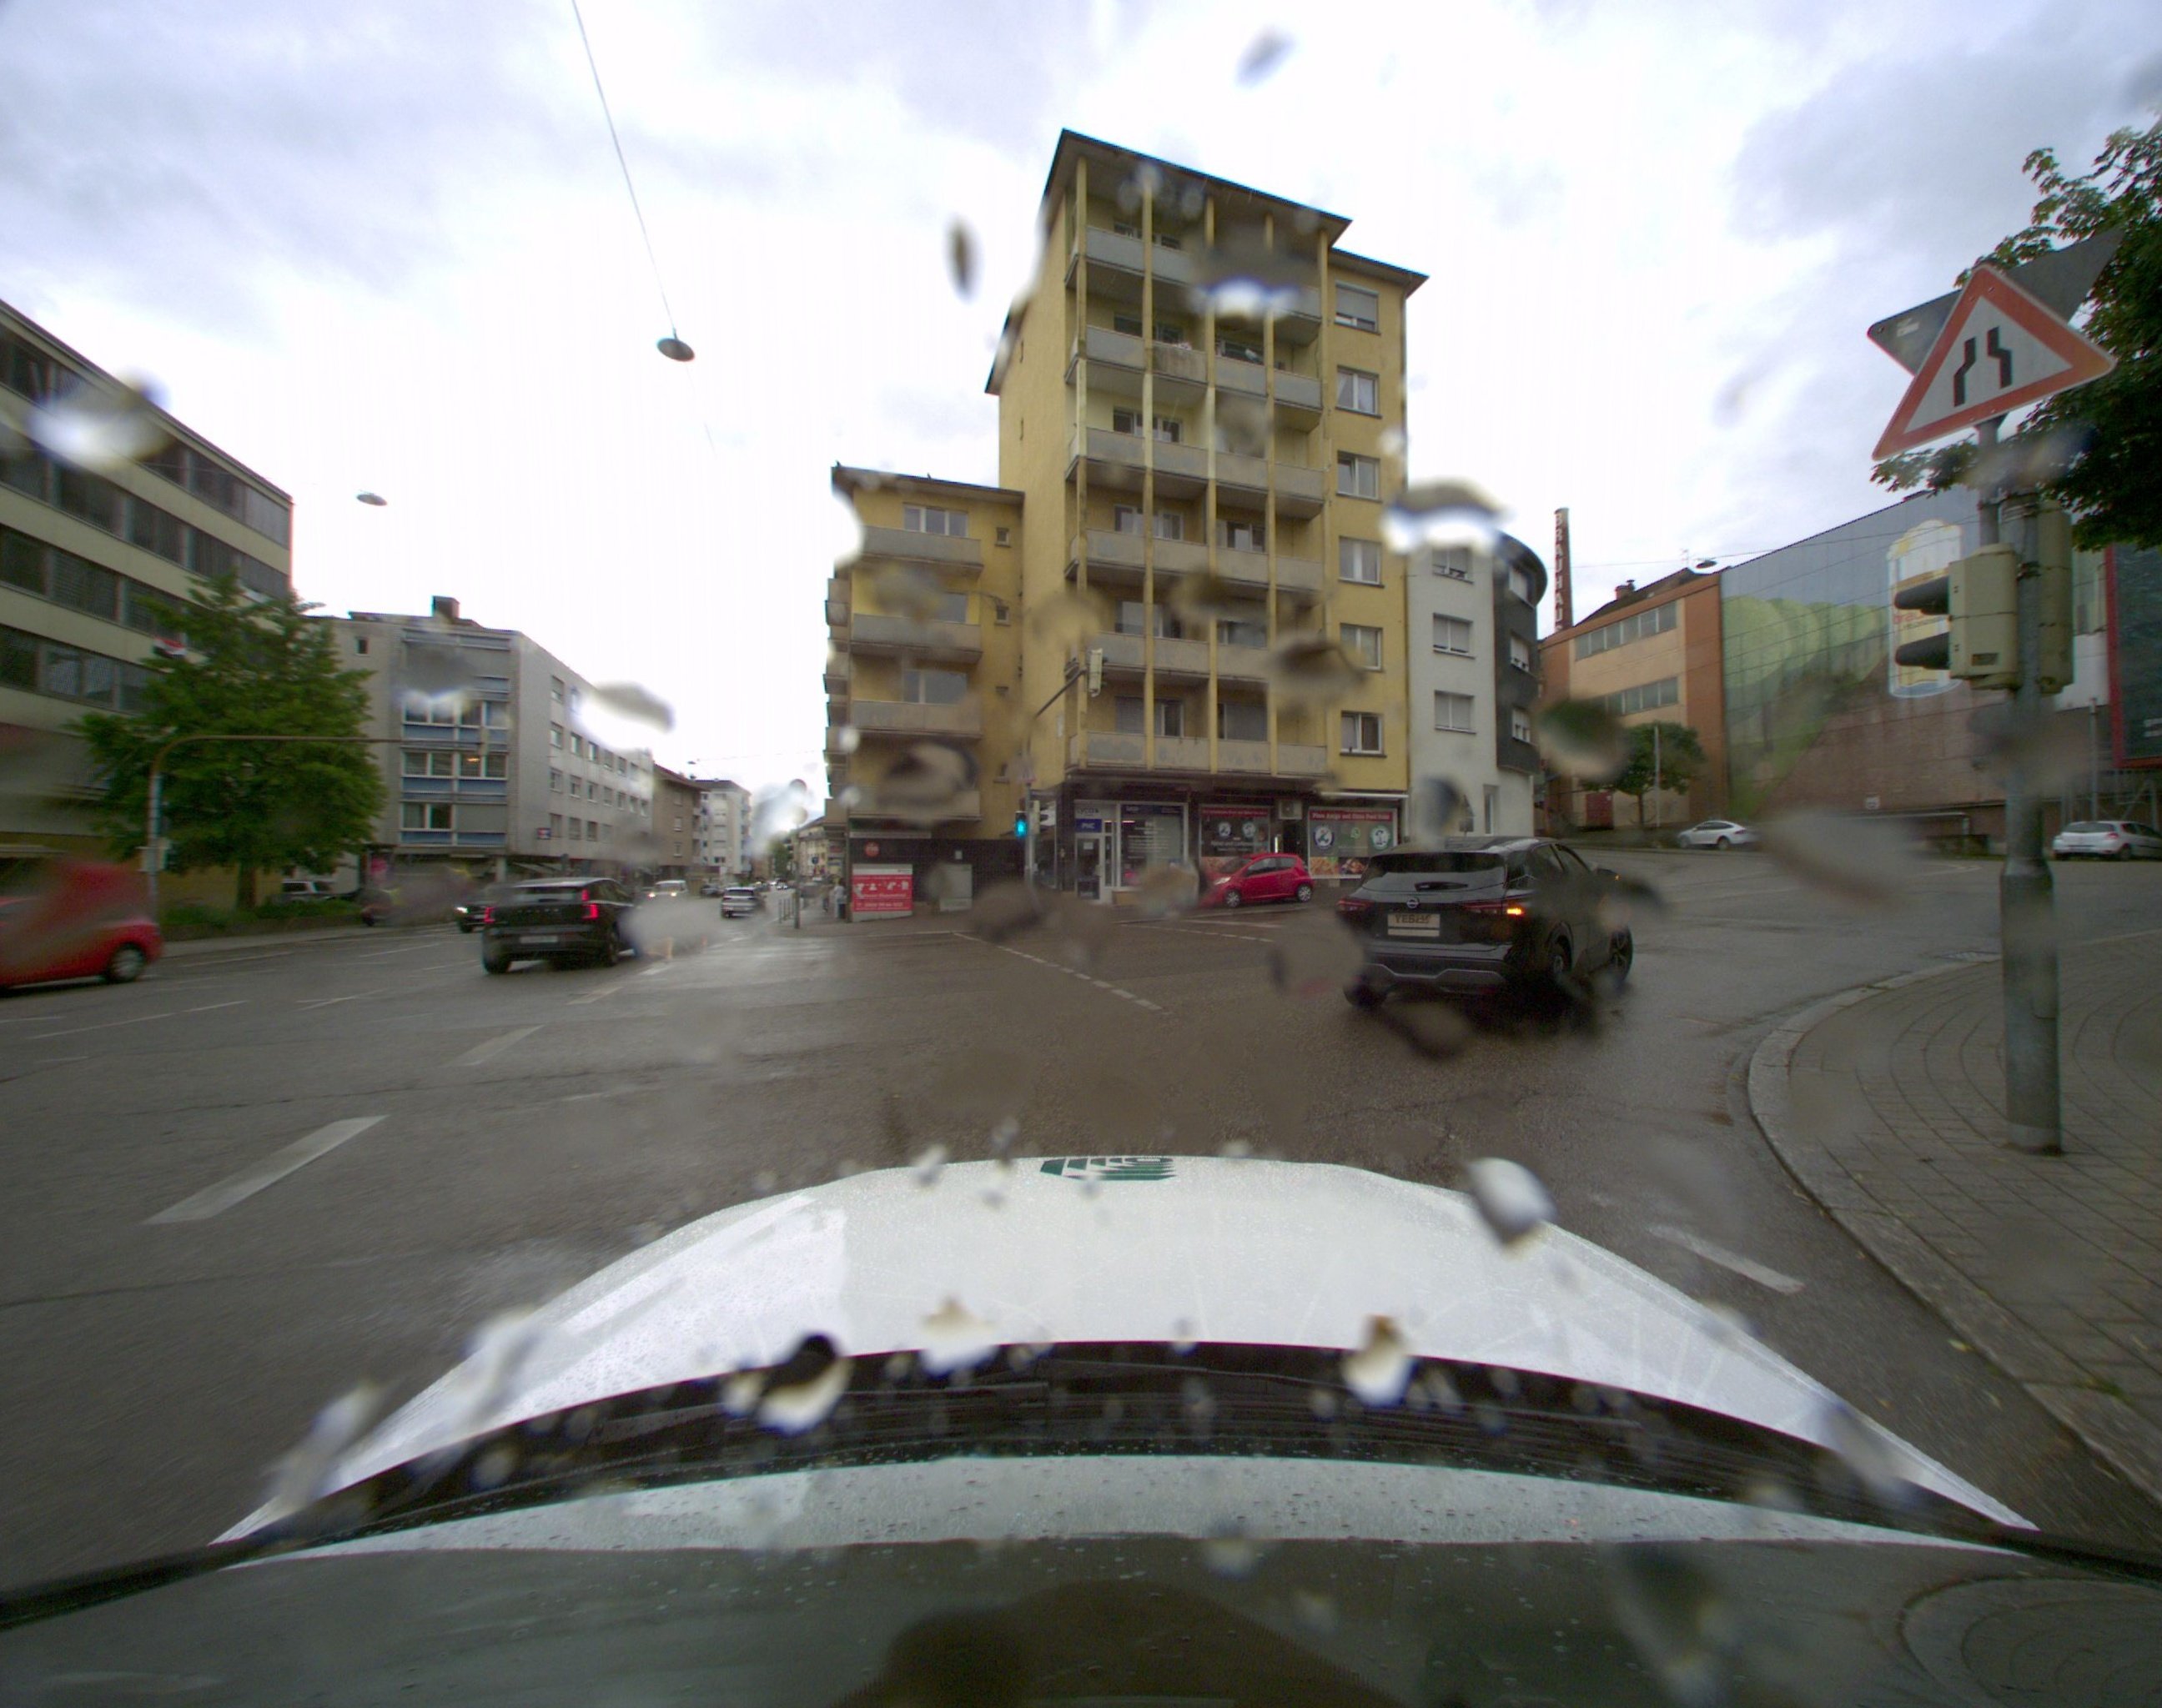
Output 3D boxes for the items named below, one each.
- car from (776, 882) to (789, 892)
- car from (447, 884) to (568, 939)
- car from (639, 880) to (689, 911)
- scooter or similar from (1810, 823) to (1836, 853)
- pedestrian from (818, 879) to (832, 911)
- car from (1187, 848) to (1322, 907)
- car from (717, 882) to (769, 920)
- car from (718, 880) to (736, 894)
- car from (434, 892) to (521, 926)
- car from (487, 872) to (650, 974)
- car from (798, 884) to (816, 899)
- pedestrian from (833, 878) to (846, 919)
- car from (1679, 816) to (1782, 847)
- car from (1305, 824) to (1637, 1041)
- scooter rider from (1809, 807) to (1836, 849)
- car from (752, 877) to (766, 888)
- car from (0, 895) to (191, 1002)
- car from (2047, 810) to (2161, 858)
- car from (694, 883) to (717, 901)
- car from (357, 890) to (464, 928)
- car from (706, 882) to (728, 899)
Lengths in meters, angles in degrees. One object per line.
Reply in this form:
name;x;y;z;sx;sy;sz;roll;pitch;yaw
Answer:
car;-60.185;6.614;164.095;2.132;1.855;4.208;-2;-1;-15
car;-20.070;1.942;28.754;1.988;1.703;4.547;-2;-1;-15
car;-27.214;2.675;53.309;1.988;1.855;4.209;-2;-1;-14
scooter or similar;33.801;-0.726;37.106;0.794;1.323;1.417;-3;-1;40
pedestrian;-13.736;2.177;43.690;0.658;1.675;0.699;0;-2;-19
car;5.043;0.649;23.750;3.532;1.464;1.605;-3;2;-18
car;-16.394;2.243;39.666;1.990;1.703;4.542;0;-2;-18
car;-48.014;4.459;110.454;1.992;1.855;4.202;-2;-2;-20
car;-28.123;2.517;38.073;1.720;1.427;3.876;1;-2;-11
car;-9.053;1.136;14.727;1.802;1.510;3.969;-1;-1;-22
car;-31.157;4.261;92.659;1.990;1.703;4.542;0;-2;-18
pedestrian;-9.968;1.819;33.586;0.499;1.675;0.553;0;-2;-19
car;35.849;-1.286;45.141;1.846;1.617;4.917;0;3;1
car;4.029;0.563;8.058;1.863;1.594;3.945;-1;0;43
scooter rider;33.792;-1.181;37.130;0.794;1.821;0.786;-3;-1;40
car;-56.298;4.989;142.436;1.992;1.855;4.202;-2;-2;-20
car;-16.080;1.395;11.996;1.704;1.423;4.561;-2;-1;-13
car;37.481;-0.736;29.287;3.983;1.533;1.867;-3;0;-13
car;-41.687;4.186;90.499;1.992;1.855;4.202;-2;-2;-20
car;-27.305;2.199;33.337;1.720;1.427;3.876;1;-2;-11
car;-43.187;4.281;96.631;1.992;1.855;4.202;-2;-2;-20
